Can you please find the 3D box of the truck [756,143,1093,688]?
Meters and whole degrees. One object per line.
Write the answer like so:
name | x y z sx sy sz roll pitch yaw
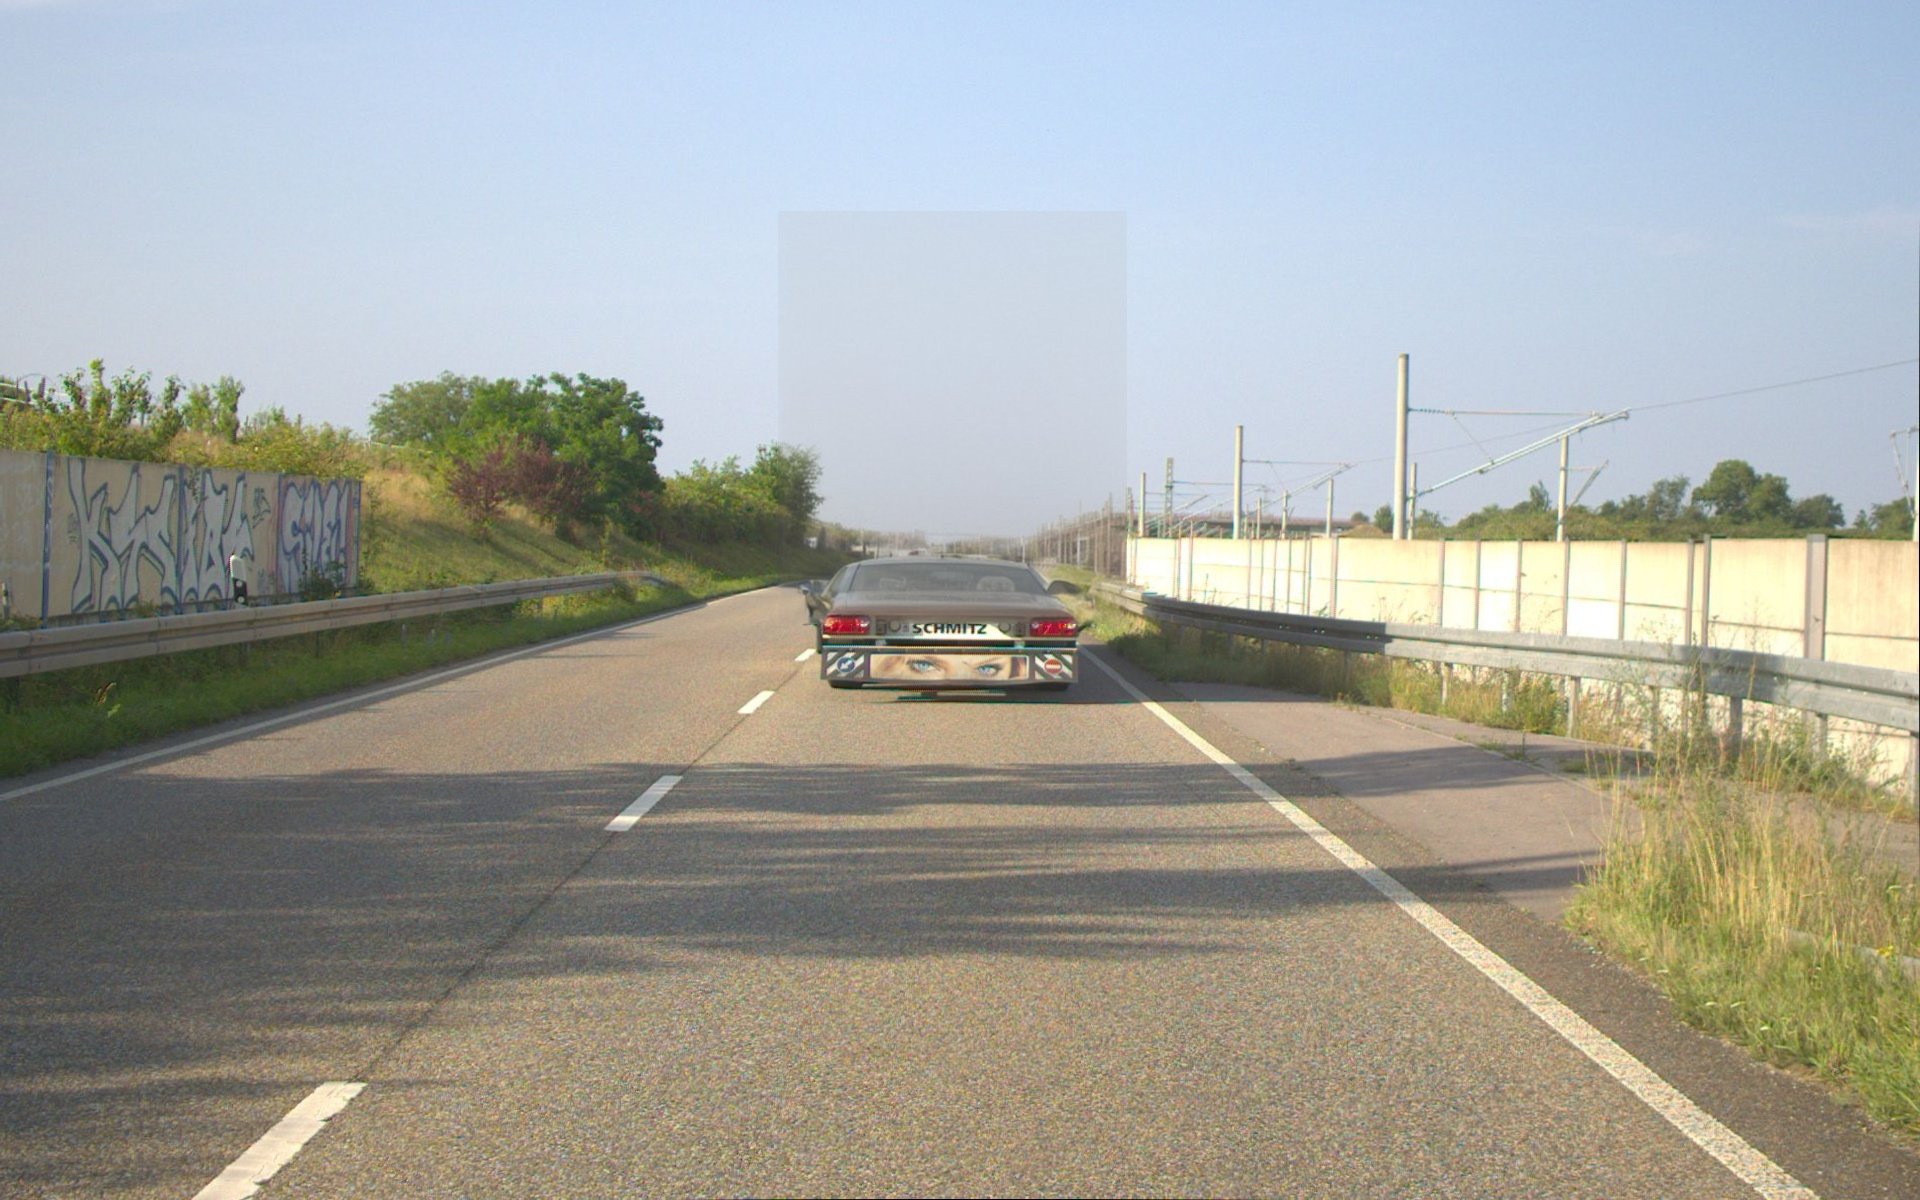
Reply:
truck | -0.452 -1.831 36.869 3.033 4.903 11.686 0 2 -1
